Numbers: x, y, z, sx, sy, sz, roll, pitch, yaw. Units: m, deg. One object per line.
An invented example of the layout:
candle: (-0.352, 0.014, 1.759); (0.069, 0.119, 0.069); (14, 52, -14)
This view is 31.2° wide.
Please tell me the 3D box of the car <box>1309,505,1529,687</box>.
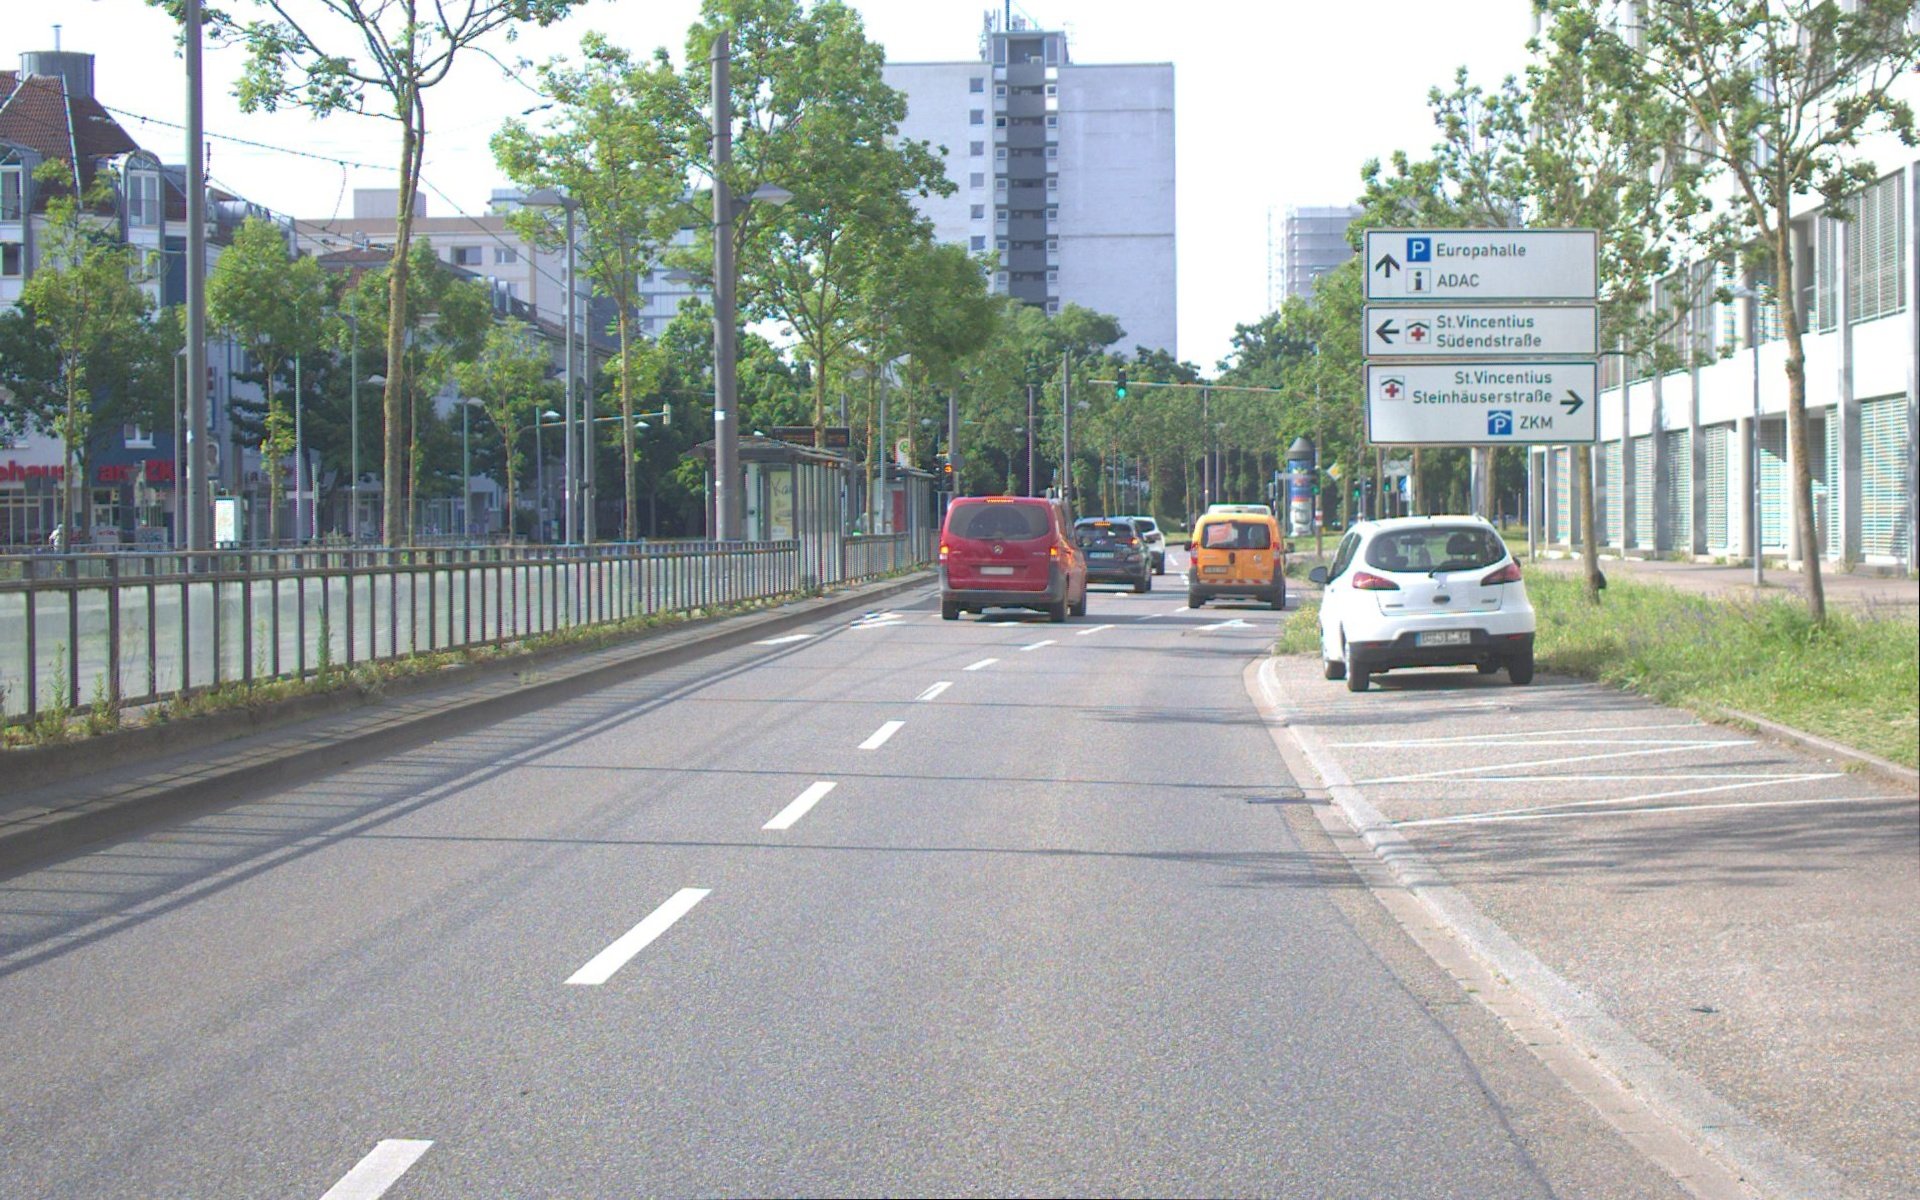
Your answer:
car: (4.190, -0.080, 31.848); (1.689, 1.521, 3.850); (-2, 1, 3)

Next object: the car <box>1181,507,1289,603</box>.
car: (4.949, -0.833, 62.190); (1.876, 1.690, 3.973); (0, 1, 4)

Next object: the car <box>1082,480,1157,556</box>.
car: (4.362, -2.249, 94.358); (1.993, 2.007, 4.000); (-1, 1, 2)

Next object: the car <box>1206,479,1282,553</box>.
car: (7.992, -2.371, 97.042); (1.994, 2.007, 4.000); (-1, 1, 3)

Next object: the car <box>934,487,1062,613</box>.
car: (0.617, -0.782, 52.627); (1.874, 1.847, 4.000); (0, 1, 2)

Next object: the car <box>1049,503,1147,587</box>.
car: (2.938, -1.177, 72.545); (1.994, 1.700, 4.000); (-1, 2, 3)
